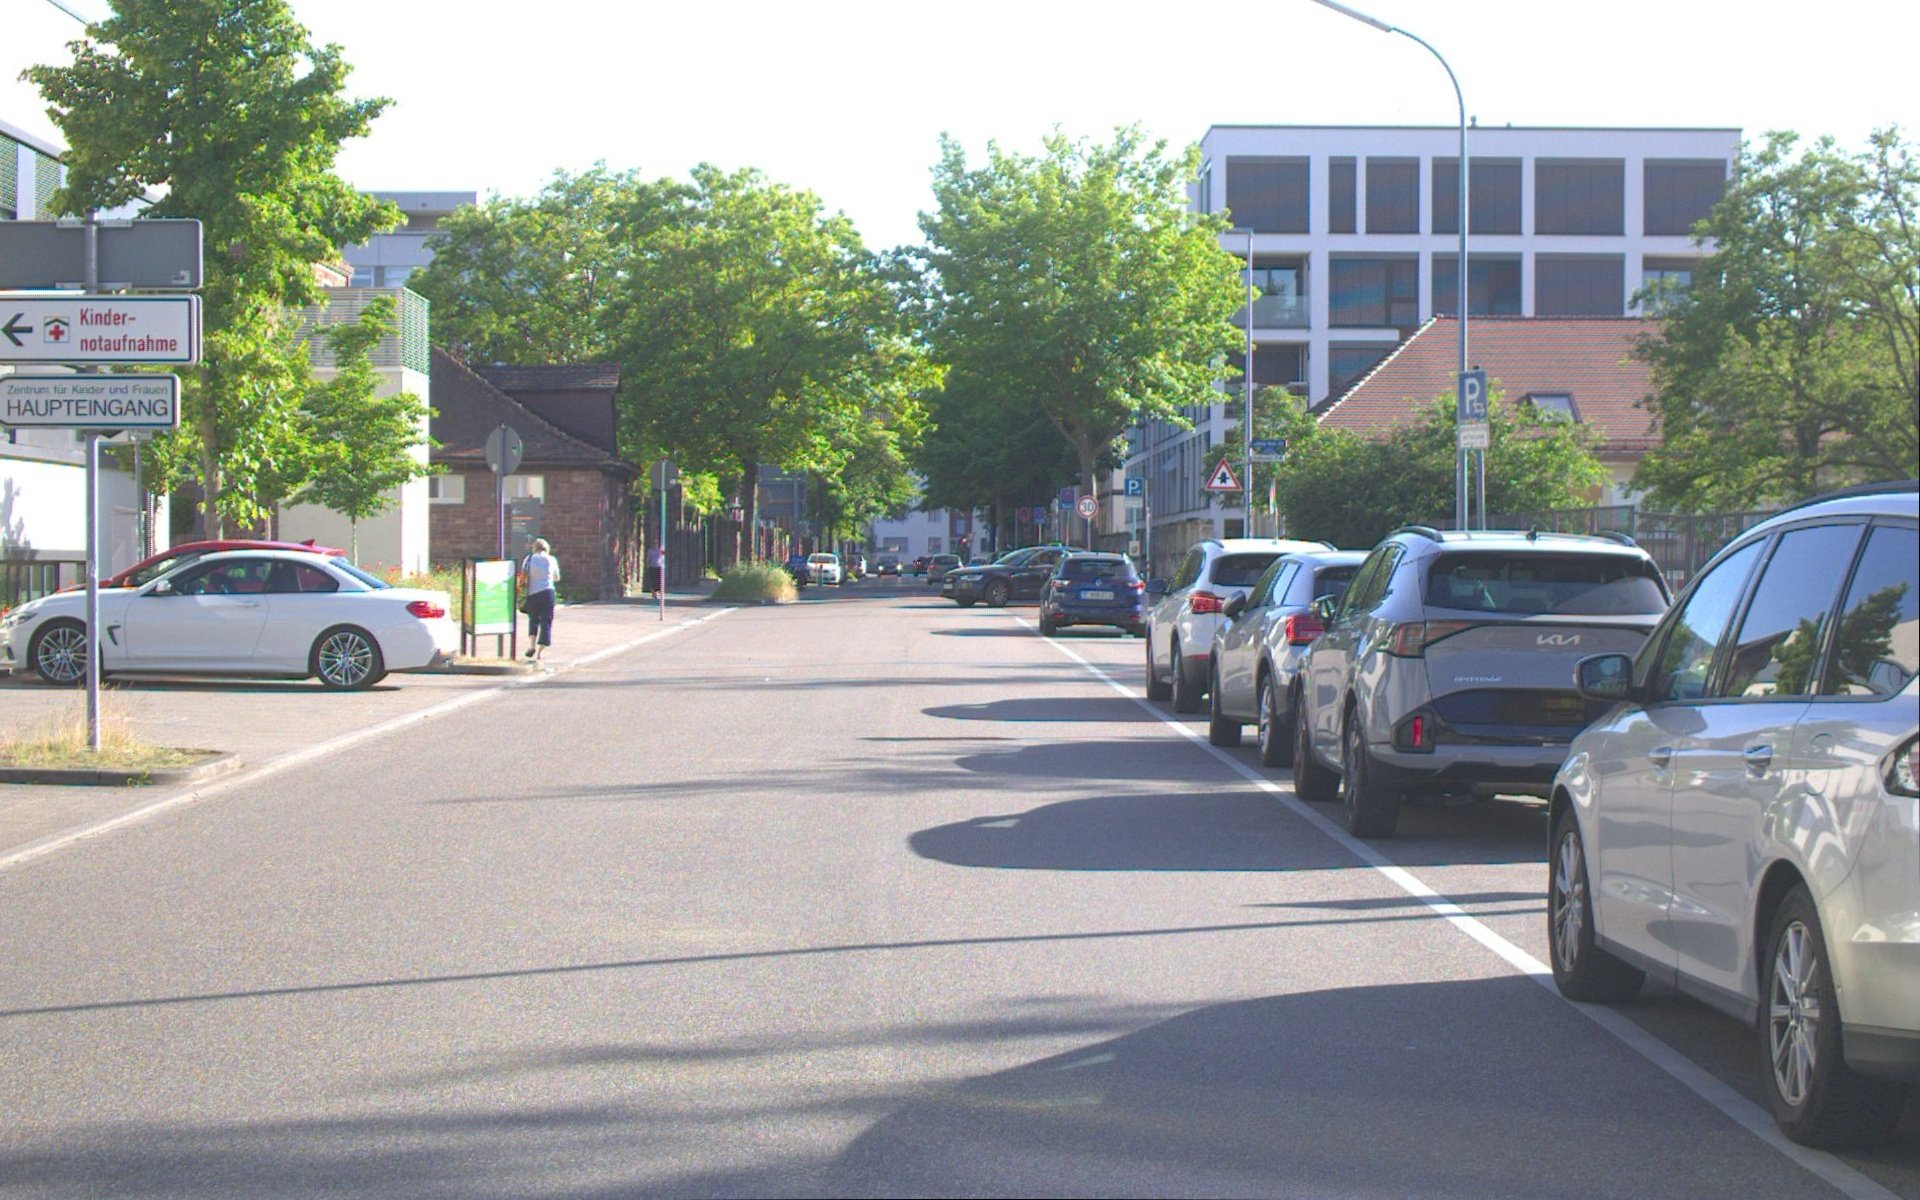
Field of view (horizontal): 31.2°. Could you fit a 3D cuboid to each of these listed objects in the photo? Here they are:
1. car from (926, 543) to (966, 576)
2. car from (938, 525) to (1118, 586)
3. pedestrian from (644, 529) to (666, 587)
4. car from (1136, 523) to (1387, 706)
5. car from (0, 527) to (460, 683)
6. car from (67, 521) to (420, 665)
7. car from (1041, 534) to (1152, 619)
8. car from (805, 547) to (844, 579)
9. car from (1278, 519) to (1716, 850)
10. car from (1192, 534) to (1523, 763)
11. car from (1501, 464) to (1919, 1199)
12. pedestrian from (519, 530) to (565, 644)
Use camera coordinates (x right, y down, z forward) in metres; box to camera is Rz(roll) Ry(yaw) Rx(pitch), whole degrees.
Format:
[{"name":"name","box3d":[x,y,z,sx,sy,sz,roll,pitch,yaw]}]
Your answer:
[{"name":"car","box3d":[-0.673,-1.900,162.313,1.767,1.543,4.066,0,1,-2]},{"name":"car","box3d":[1.677,-1.080,83.197,1.766,1.437,4.526,1,1,43]},{"name":"pedestrian","box3d":[-8.327,-1.145,93.779,0.521,1.557,1.096,1,1,-1]},{"name":"car","box3d":[2.810,0.081,32.899,1.813,1.583,4.263,2,1,-2]},{"name":"car","box3d":[-7.490,0.038,35.353,4.511,1.362,1.700,3,1,-5]},{"name":"car","box3d":[-7.938,-0.091,38.323,3.634,1.464,1.614,2,1,-4]},{"name":"car","box3d":[2.368,-0.439,60.653,1.818,1.448,4.214,0,1,0]},{"name":"car","box3d":[-6.363,-1.747,161.595,1.767,1.482,4.000,0,1,-2]},{"name":"car","box3d":[2.878,0.377,19.326,1.700,1.601,4.353,2,1,0]},{"name":"car","box3d":[2.818,0.290,25.186,1.700,1.482,3.981,2,1,-3]},{"name":"car","box3d":[2.961,0.529,10.118,1.809,1.716,4.705,2,1,-2]},{"name":"pedestrian","box3d":[-5.594,-0.176,46.020,0.538,1.518,0.607,0,1,1]}]
